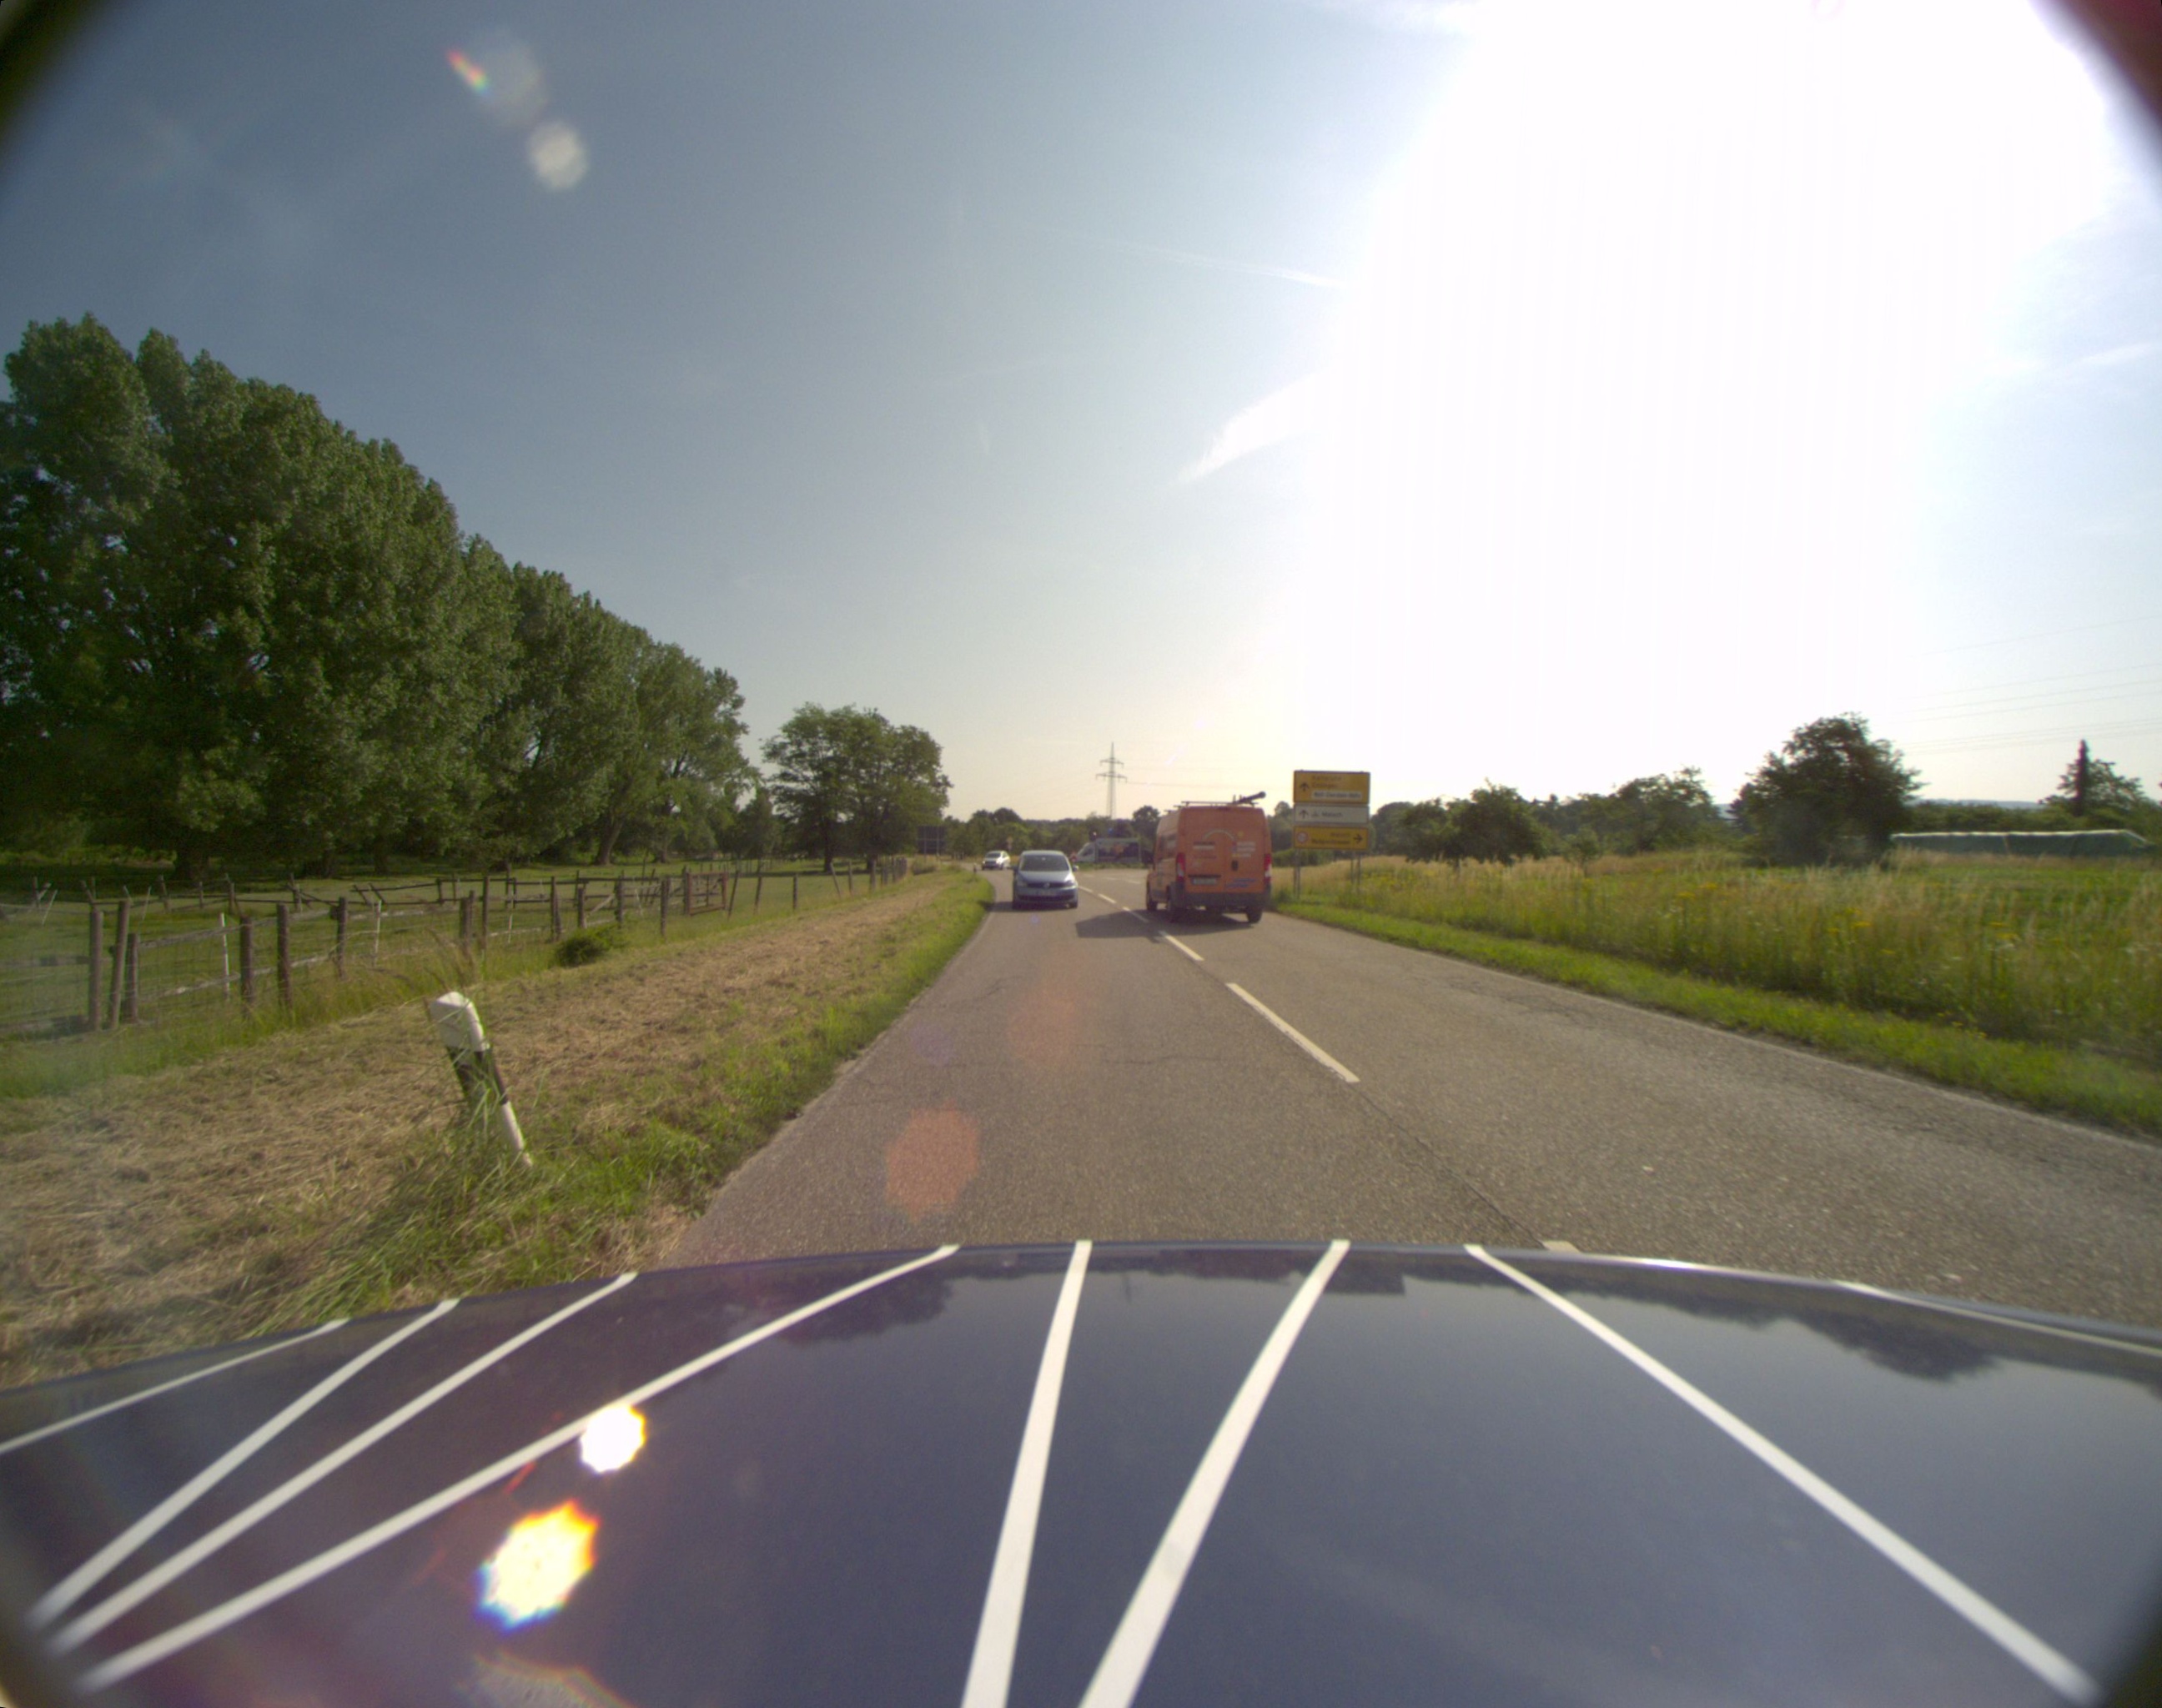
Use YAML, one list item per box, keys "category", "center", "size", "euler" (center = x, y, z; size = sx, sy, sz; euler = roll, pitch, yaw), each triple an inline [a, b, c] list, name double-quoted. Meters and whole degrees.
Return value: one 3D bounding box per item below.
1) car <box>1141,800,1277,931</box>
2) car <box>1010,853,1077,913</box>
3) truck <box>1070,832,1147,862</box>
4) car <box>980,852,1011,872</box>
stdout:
- category: "car"
  center: [2.837, 0.227, 18.217]
  size: [2.130, 2.680, 5.266]
  euler: [0, 0, -3]
- category: "car"
  center: [-1.006, 0.748, 21.747]
  size: [1.718, 1.495, 4.093]
  euler: [-1, 0, -1]
- category: "truck"
  center: [2.808, -0.720, 77.144]
  size: [7.368, 3.028, 2.581]
  euler: [0, 1, -13]
- category: "car"
  center: [-7.170, 0.684, 63.974]
  size: [1.998, 1.570, 3.909]
  euler: [-2, 0, 2]
